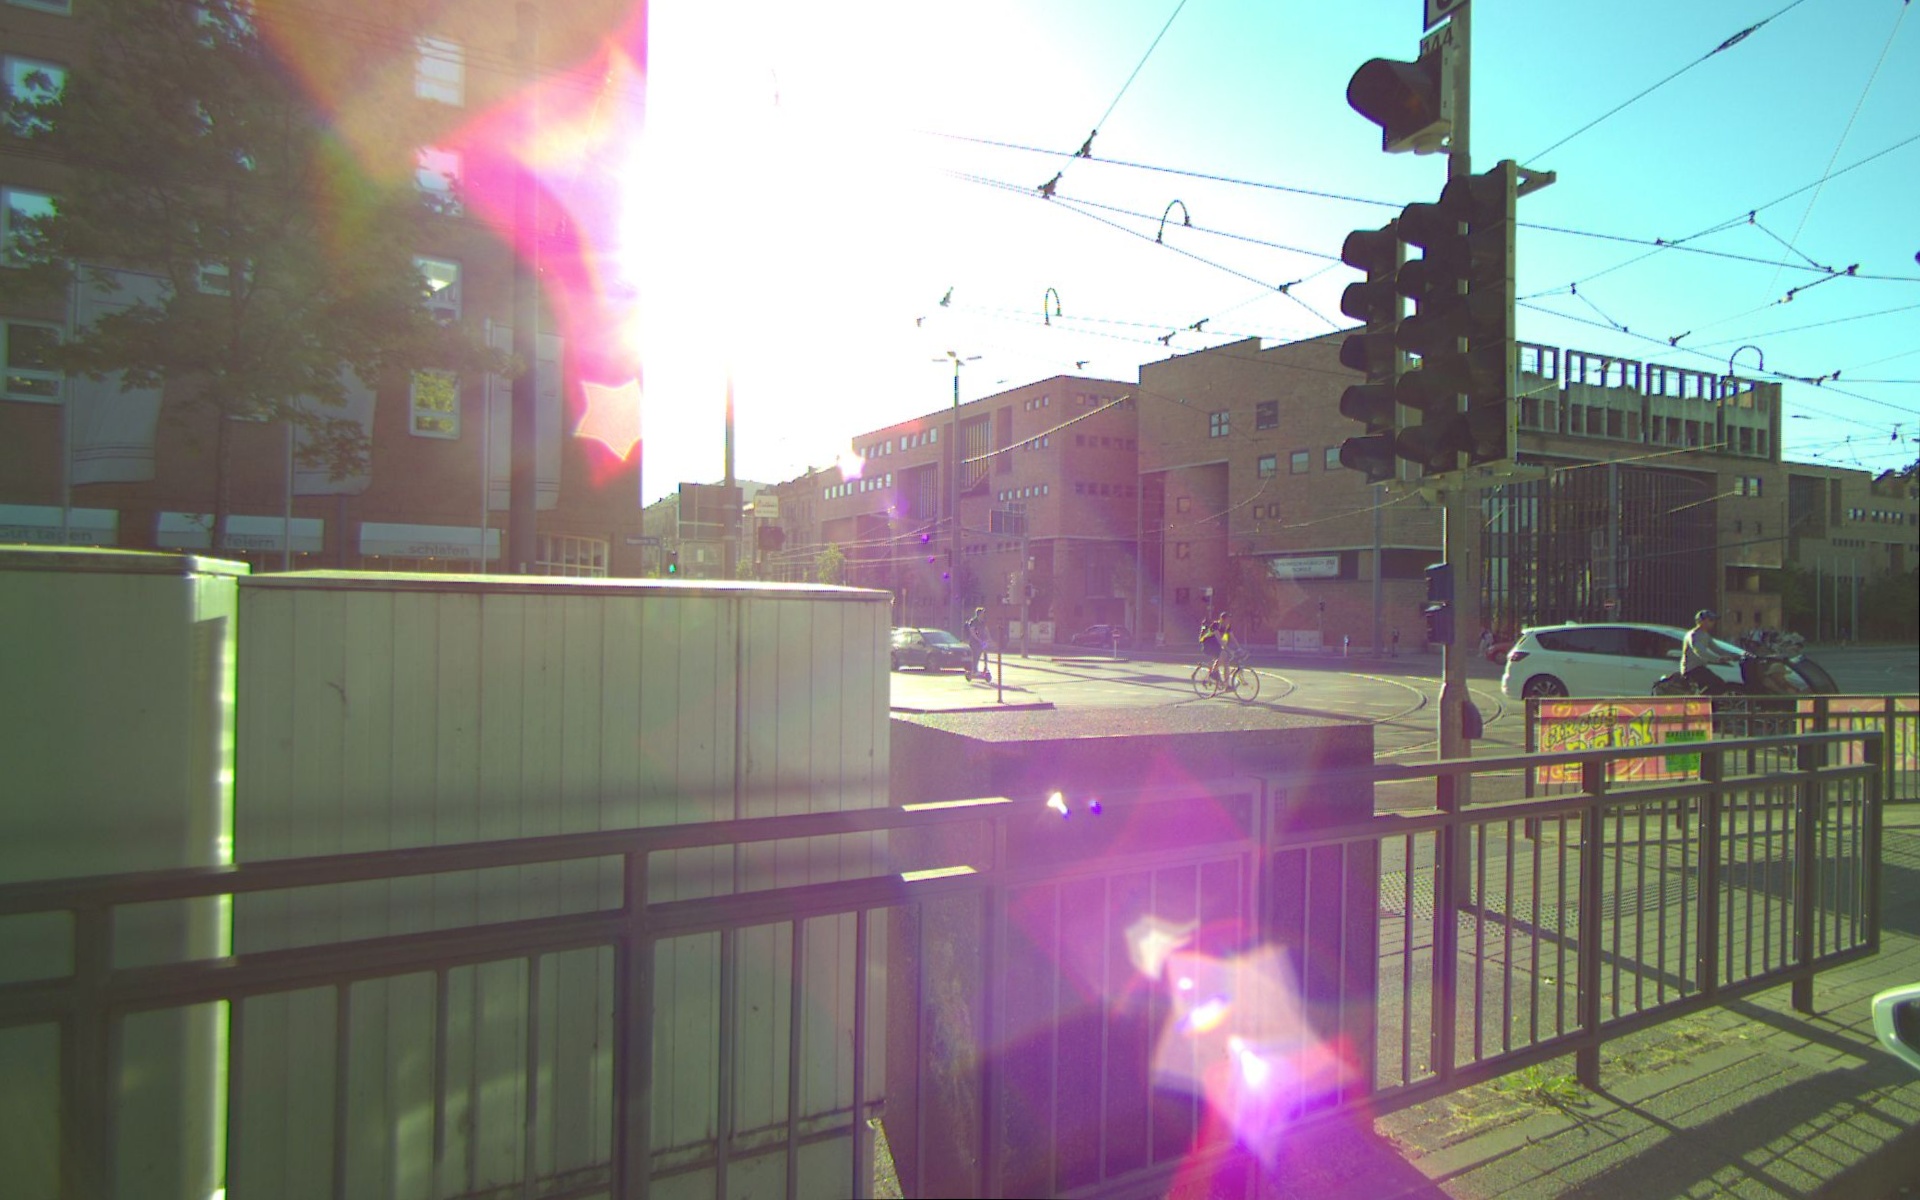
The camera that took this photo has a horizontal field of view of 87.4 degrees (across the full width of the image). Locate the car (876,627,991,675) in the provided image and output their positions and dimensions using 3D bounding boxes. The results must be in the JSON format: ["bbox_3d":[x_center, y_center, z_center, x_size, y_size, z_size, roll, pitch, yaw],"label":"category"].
[{"bbox_3d":[-1.017,1.774,35.903,1.982,1.538,4.351,0,-1,-38],"label":"car"}]

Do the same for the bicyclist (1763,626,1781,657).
[{"bbox_3d":[45.100,2.282,55.816,0.782,1.697,0.589,1,-1,-36],"label":"bicyclist"}]

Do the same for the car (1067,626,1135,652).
[{"bbox_3d":[8.925,2.449,63.972,1.781,1.623,4.206,2,-2,-40],"label":"car"}]

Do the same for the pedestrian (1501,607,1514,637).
[{"bbox_3d":[31.100,1.255,57.067,0.530,1.672,0.622,-1,-2,41],"label":"pedestrian"}]

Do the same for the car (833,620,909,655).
[{"bbox_3d":[-4.662,1.903,52.130,1.981,1.719,4.316,1,-2,-36],"label":"car"}]

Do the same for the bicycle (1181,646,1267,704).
[{"bbox_3d":[5.466,1.534,20.925,0.621,1.078,1.916,1,-1,-27],"label":"bicycle"}]

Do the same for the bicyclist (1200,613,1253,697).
[{"bbox_3d":[5.517,1.117,20.830,0.631,1.686,0.901,1,-1,-27],"label":"bicyclist"}]

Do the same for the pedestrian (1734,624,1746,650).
[{"bbox_3d":[56.233,2.683,72.438,0.538,1.834,0.489,1,-1,-23],"label":"pedestrian"}]

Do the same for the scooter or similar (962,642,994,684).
[{"bbox_3d":[0.502,1.760,28.305,0.397,1.119,1.202,1,-1,-26],"label":"scooter or similar"}]

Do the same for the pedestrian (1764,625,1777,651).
[{"bbox_3d":[57.007,2.690,70.626,0.538,1.803,0.521,1,-1,-23],"label":"pedestrian"}]

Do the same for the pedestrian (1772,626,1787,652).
[{"bbox_3d":[58.112,2.743,71.204,0.538,1.834,0.640,1,-1,-23],"label":"pedestrian"}]

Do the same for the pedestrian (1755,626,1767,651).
[{"bbox_3d":[57.625,2.761,72.252,0.538,1.834,0.489,1,-1,-23],"label":"pedestrian"}]

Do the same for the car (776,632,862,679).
[{"bbox_3d":[-4.629,1.775,32.740,1.621,1.416,3.278,1,-2,-31],"label":"car"}]

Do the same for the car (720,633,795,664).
[{"bbox_3d":[-9.741,2.294,48.118,1.980,1.398,4.351,1,-2,-35],"label":"car"}]

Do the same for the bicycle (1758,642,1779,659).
[{"bbox_3d":[44.996,2.800,55.870,1.823,0.893,0.509,2,-2,-38],"label":"bicycle"}]

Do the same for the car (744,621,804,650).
[{"bbox_3d":[-11.446,2.179,61.721,1.981,1.719,4.316,1,-2,-36],"label":"car"}]

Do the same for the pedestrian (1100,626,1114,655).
[{"bbox_3d":[8.626,2.358,58.999,0.608,1.635,0.540,-1,2,-35],"label":"pedestrian"}]

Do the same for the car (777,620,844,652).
[{"bbox_3d":[-8.477,2.007,56.698,1.981,1.719,4.316,1,-2,-36],"label":"car"}]

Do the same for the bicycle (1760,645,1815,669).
[{"bbox_3d":[33.694,2.313,40.917,1.722,0.911,0.407,-1,-2,43],"label":"bicycle"}]

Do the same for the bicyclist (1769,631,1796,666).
[{"bbox_3d":[33.593,1.971,41.020,0.810,1.384,0.398,-1,-2,43],"label":"bicyclist"}]

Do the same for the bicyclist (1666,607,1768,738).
[{"bbox_3d":[10.315,0.963,13.705,0.682,1.703,0.901,1,-1,-26],"label":"bicyclist"}]

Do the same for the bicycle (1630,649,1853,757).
[{"bbox_3d":[10.461,1.325,13.547,1.058,1.243,2.150,0,-1,-26],"label":"bicycle"}]

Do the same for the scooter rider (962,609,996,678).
[{"bbox_3d":[0.540,1.229,28.322,0.727,1.921,0.661,1,-2,-27],"label":"scooter rider"}]

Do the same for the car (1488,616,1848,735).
[{"bbox_3d":[12.136,1.180,17.578,1.980,1.750,4.802,1,-1,-35],"label":"car"}]

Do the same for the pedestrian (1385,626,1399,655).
[{"bbox_3d":[24.378,2.278,56.642,0.560,1.635,0.545,0,-1,1],"label":"pedestrian"}]

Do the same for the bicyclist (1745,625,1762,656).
[{"bbox_3d":[44.517,2.265,56.353,0.782,1.697,0.589,1,-1,-36],"label":"bicyclist"}]

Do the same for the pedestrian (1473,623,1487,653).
[{"bbox_3d":[29.630,2.172,57.253,0.530,1.672,0.622,1,-1,41],"label":"pedestrian"}]

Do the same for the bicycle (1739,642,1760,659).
[{"bbox_3d":[44.343,2.830,56.428,1.823,0.893,0.509,2,-2,-38],"label":"bicycle"}]
